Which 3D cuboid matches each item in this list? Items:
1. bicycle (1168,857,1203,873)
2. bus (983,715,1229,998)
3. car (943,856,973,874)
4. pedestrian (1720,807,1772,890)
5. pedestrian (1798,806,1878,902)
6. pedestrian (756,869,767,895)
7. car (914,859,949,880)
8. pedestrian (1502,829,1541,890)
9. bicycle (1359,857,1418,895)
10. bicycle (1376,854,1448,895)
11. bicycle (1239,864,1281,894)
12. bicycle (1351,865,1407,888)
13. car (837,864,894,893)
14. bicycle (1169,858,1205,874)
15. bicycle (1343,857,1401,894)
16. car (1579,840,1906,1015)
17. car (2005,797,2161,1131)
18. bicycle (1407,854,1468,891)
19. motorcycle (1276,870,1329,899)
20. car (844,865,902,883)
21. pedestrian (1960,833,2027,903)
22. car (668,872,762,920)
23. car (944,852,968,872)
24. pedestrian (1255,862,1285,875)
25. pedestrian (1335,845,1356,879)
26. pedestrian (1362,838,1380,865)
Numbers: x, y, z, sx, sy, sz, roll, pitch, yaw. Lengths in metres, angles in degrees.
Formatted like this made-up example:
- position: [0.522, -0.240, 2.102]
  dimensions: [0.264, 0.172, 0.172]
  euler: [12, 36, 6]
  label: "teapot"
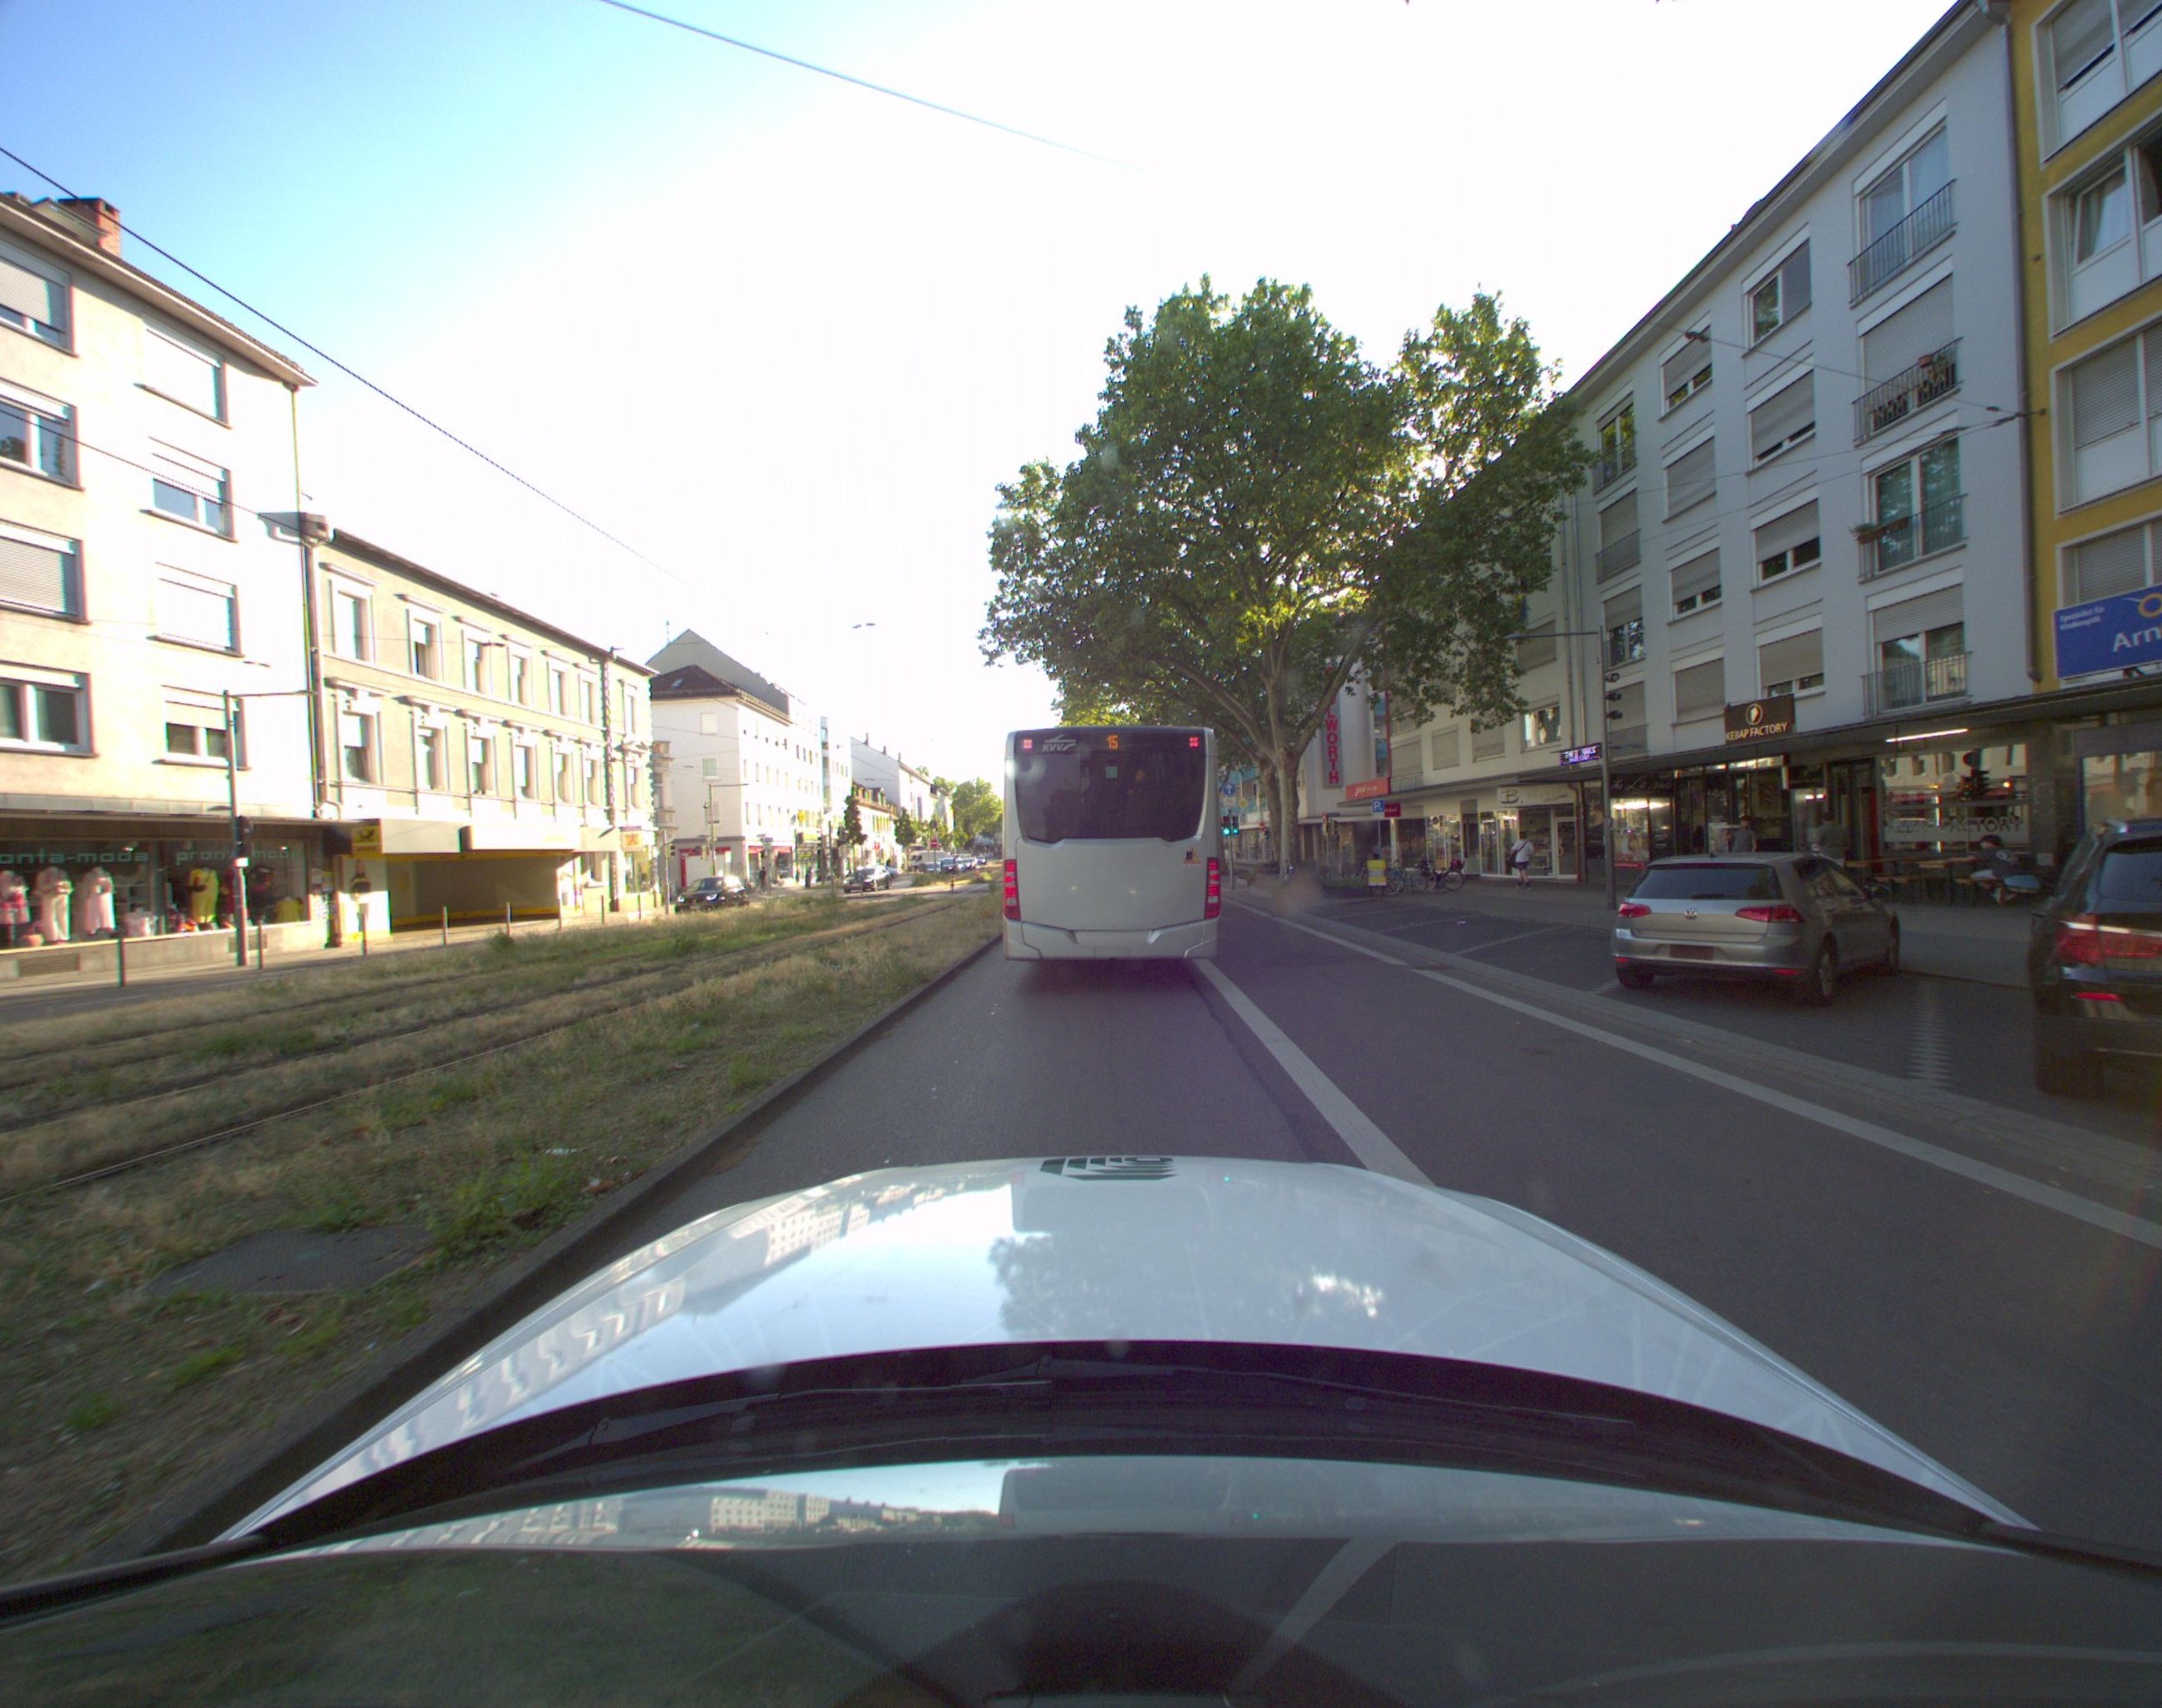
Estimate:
- position: [7.369, 0.769, 57.543]
  dimensions: [2.307, 1.028, 0.835]
  euler: [-2, 1, -7]
  label: "bicycle"
- position: [0.454, 0.024, 12.570]
  dimensions: [2.667, 3.083, 7.119]
  euler: [-1, 0, 3]
  label: "bus"
- position: [-11.533, 1.009, 76.535]
  dimensions: [1.772, 1.615, 4.513]
  euler: [-1, 0, 4]
  label: "car"
- position: [15.618, -0.128, 19.119]
  dimensions: [0.918, 1.876, 0.729]
  euler: [-2, -1, -40]
  label: "pedestrian"
- position: [14.859, 0.000, 16.012]
  dimensions: [0.703, 1.791, 0.789]
  euler: [-5, -1, 7]
  label: "pedestrian"
- position: [-21.269, 1.870, 54.150]
  dimensions: [0.423, 1.713, 0.509]
  euler: [-2, -1, 6]
  label: "pedestrian"
- position: [-12.281, 1.290, 67.241]
  dimensions: [1.773, 1.450, 4.049]
  euler: [-4, 1, 4]
  label: "car"
- position: [13.890, 0.170, 25.679]
  dimensions: [0.643, 1.876, 0.821]
  euler: [-2, -1, -12]
  label: "pedestrian"
- position: [10.954, 0.777, 29.044]
  dimensions: [1.783, 1.189, 0.671]
  euler: [-5, -1, -7]
  label: "bicycle"
- position: [11.189, 0.687, 27.582]
  dimensions: [2.070, 1.233, 0.833]
  euler: [-3, -1, 6]
  label: "bicycle"
- position: [6.916, 0.953, 31.546]
  dimensions: [1.503, 1.105, 0.460]
  euler: [1, 0, 2]
  label: "bicycle"
- position: [11.361, 0.851, 31.095]
  dimensions: [1.864, 0.765, 0.713]
  euler: [-2, 0, 10]
  label: "bicycle"
- position: [-13.041, 1.469, 49.634]
  dimensions: [1.986, 1.559, 4.777]
  euler: [-2, 0, 2]
  label: "car"
- position: [7.329, 0.834, 56.390]
  dimensions: [2.307, 0.939, 0.835]
  euler: [-2, 1, -7]
  label: "bicycle"
- position: [10.721, 0.781, 30.060]
  dimensions: [1.865, 1.189, 0.713]
  euler: [-5, -1, 10]
  label: "bicycle"
- position: [7.499, 0.653, 9.108]
  dimensions: [4.196, 1.451, 1.790]
  euler: [-2, -1, -36]
  label: "car"
- position: [7.297, 0.484, 5.088]
  dimensions: [4.172, 1.681, 1.789]
  euler: [-2, -1, -39]
  label: "car"
- position: [12.214, 0.628, 27.933]
  dimensions: [1.753, 1.154, 0.680]
  euler: [-4, -1, 10]
  label: "bicycle"
- position: [7.305, 1.002, 26.918]
  dimensions: [1.566, 0.892, 0.544]
  euler: [-3, -1, -2]
  label: "motorcycle"
- position: [-18.382, 1.765, 72.021]
  dimensions: [4.571, 1.412, 1.978]
  euler: [-2, 0, -35]
  label: "car"
- position: [15.631, 0.229, 13.963]
  dimensions: [0.416, 1.157, 0.626]
  euler: [-2, -1, 5]
  label: "pedestrian"
- position: [-13.725, 1.537, 30.767]
  dimensions: [1.715, 1.509, 3.479]
  euler: [-5, 0, 3]
  label: "car"
- position: [-13.545, 0.886, 88.232]
  dimensions: [1.988, 2.013, 3.998]
  euler: [-2, 0, -1]
  label: "car"
- position: [8.761, 0.683, 37.791]
  dimensions: [1.250, 0.589, 0.482]
  euler: [-1, 0, 0]
  label: "pedestrian"
- position: [14.064, 0.428, 43.316]
  dimensions: [0.777, 1.794, 0.764]
  euler: [-2, -1, 2]
  label: "pedestrian"
- position: [18.469, -0.148, 51.880]
  dimensions: [0.746, 1.679, 0.834]
  euler: [-2, 2, -4]
  label: "pedestrian"
